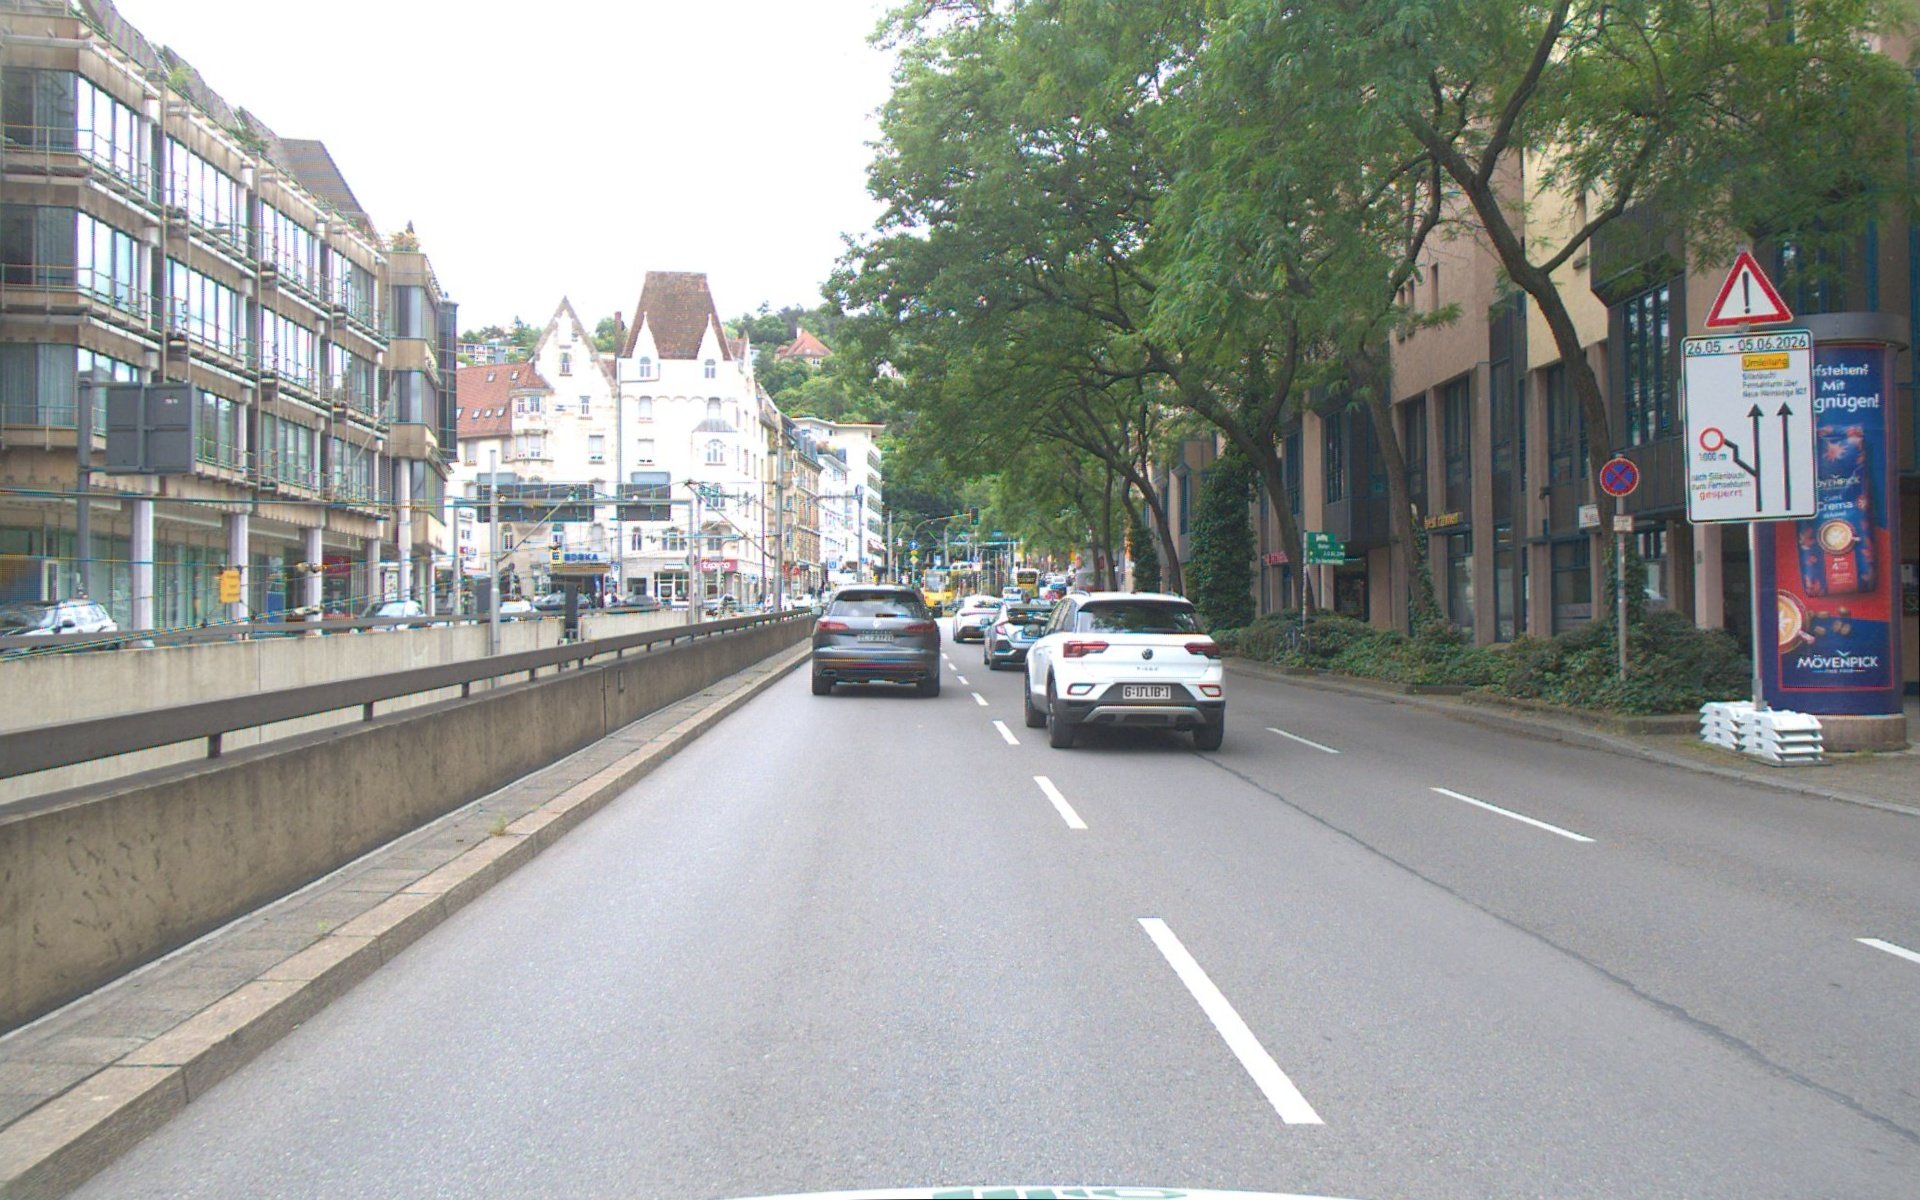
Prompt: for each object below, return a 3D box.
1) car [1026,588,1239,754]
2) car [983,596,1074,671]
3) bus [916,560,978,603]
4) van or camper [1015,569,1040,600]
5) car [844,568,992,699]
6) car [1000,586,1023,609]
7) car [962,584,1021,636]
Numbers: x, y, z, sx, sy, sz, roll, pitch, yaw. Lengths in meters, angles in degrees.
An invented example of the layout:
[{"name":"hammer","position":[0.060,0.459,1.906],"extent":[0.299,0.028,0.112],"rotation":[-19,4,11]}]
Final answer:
[{"name":"car","position":[1.738,0.671,17.823],"extent":[1.761,1.572,3.934],"rotation":[0,1,-2]},{"name":"car","position":[1.455,0.695,36.634],"extent":[1.796,1.457,4.147],"rotation":[0,1,-1]},{"name":"bus","position":[-0.976,-1.680,147.916],"extent":[3.768,3.593,17.257],"rotation":[-1,1,5]},{"name":"van or camper","position":[7.173,-1.653,175.430],"extent":[2.572,3.234,5.805],"rotation":[-1,1,3]},{"name":"car","position":[-0.732,0.437,25.415],"extent":[1.932,1.725,4.220],"rotation":[2,2,-6]},{"name":"car","position":[4.428,-0.220,142.902],"extent":[1.795,1.907,4.870],"rotation":[-2,0,-1]},{"name":"car","position":[0.986,0.299,54.270],"extent":[1.795,1.544,3.767],"rotation":[-3,0,0]}]
